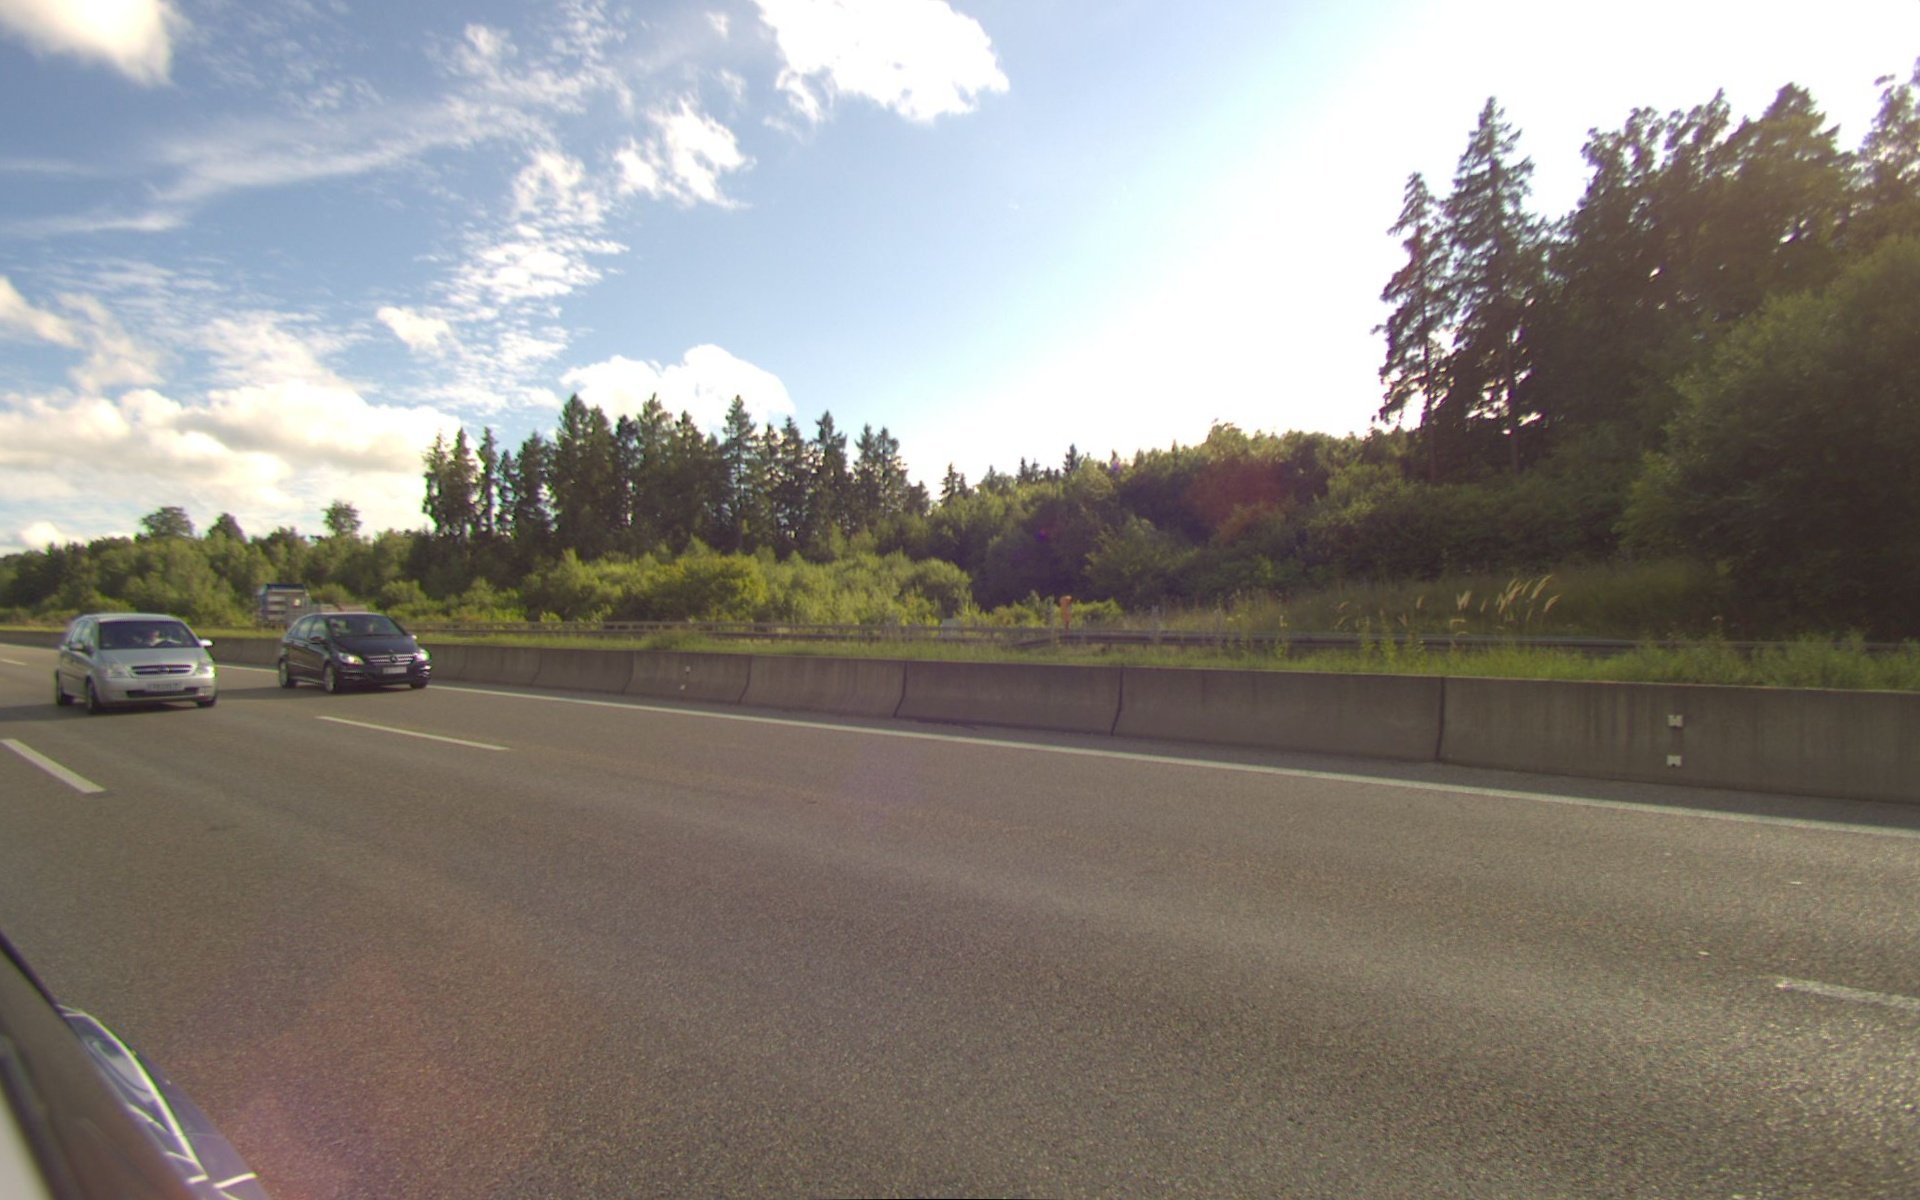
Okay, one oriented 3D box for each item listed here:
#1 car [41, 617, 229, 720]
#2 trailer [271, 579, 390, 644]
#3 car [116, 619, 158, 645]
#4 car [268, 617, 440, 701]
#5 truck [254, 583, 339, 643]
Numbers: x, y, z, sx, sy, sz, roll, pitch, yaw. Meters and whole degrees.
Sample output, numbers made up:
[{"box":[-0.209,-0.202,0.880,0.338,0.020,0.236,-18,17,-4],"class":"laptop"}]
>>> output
[{"box":[-14.199,1.079,17.341,4.331,1.529,1.816,-1,-1,41],"class":"car"},{"box":[-40.739,0.813,65.221,12.202,3.867,3.092,-1,-1,41],"class":"trailer"},{"box":[-67.767,2.605,83.297,4.857,2.029,1.973,-1,-1,41],"class":"car"},{"box":[-12.536,1.137,20.831,4.331,1.529,1.816,-1,-1,41],"class":"car"},{"box":[-45.606,0.916,69.447,7.119,3.867,3.082,-1,-1,41],"class":"truck"}]
